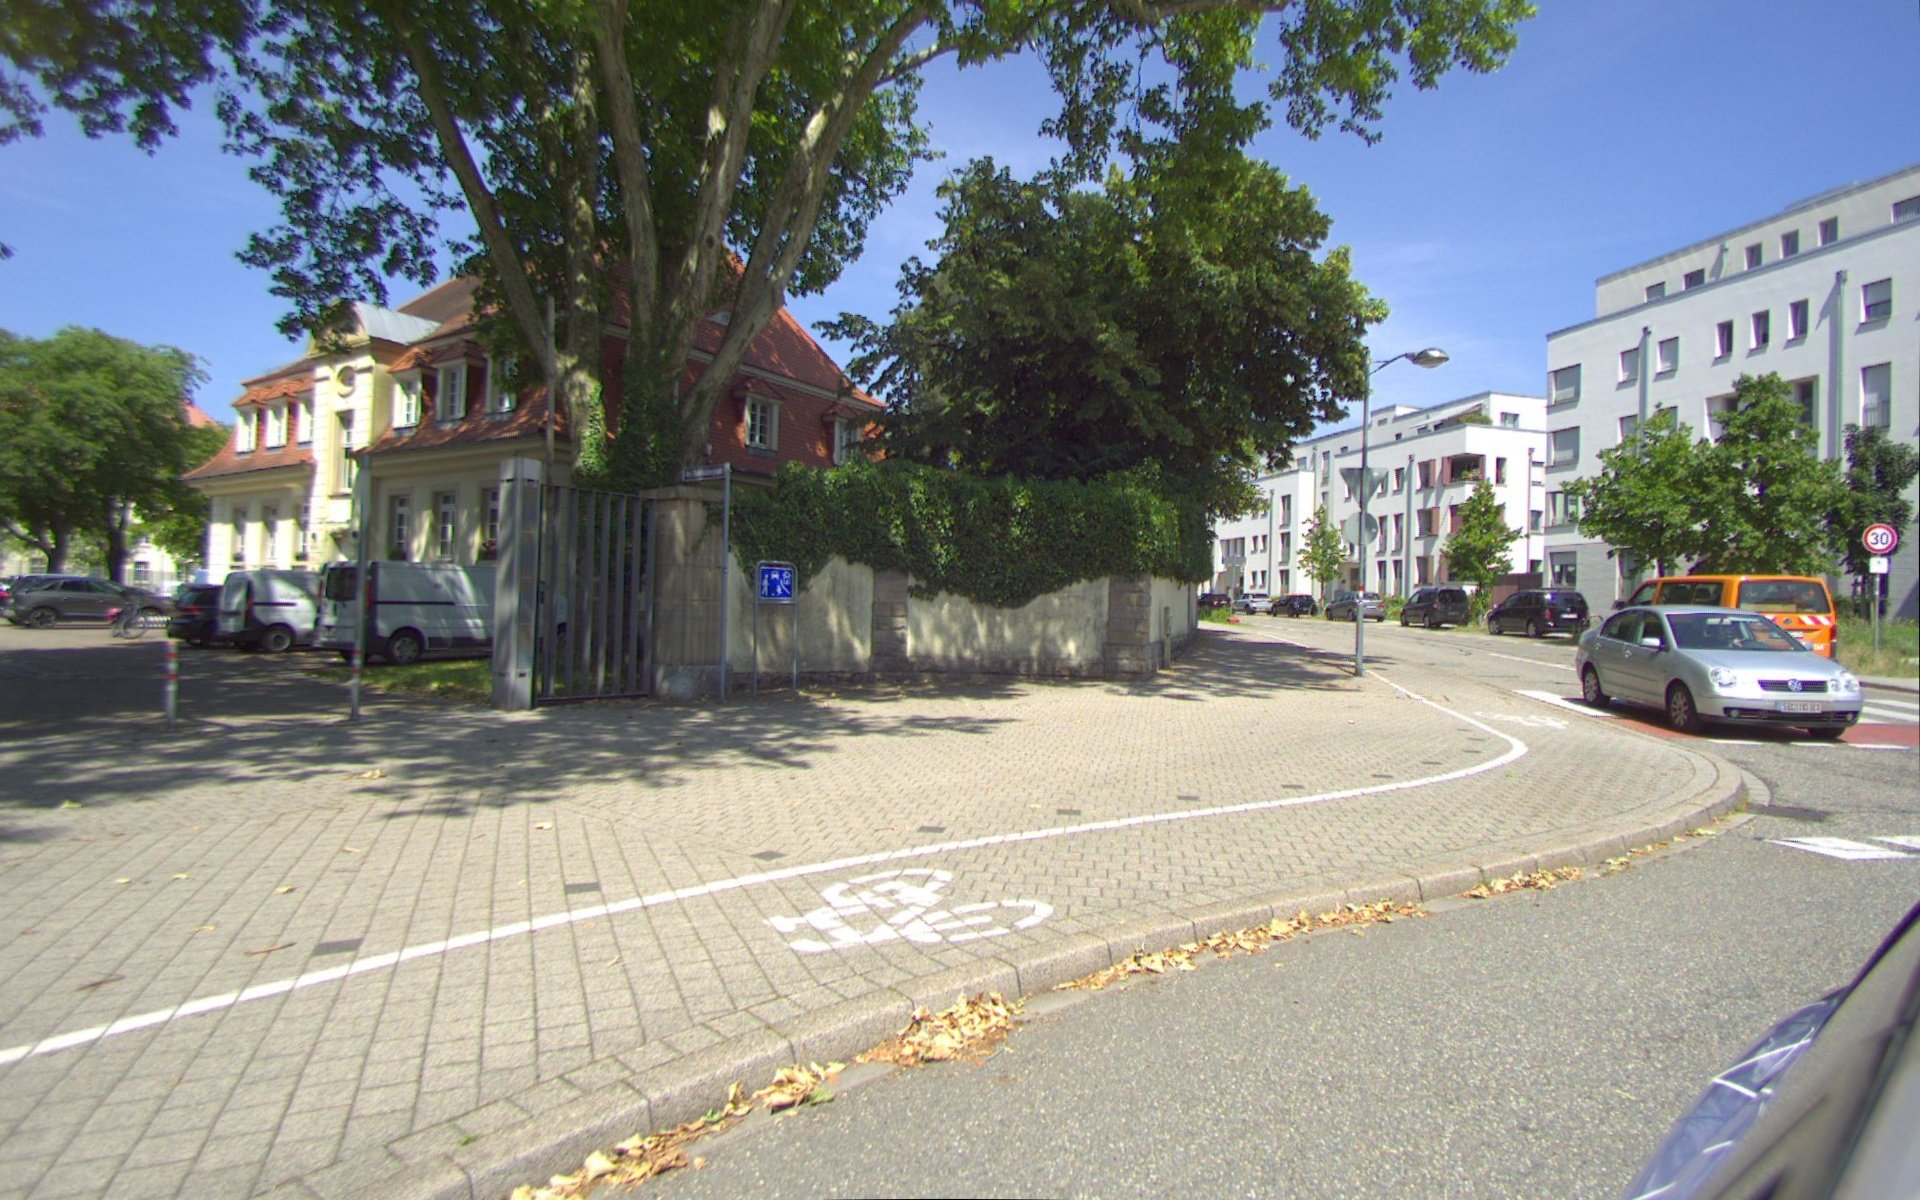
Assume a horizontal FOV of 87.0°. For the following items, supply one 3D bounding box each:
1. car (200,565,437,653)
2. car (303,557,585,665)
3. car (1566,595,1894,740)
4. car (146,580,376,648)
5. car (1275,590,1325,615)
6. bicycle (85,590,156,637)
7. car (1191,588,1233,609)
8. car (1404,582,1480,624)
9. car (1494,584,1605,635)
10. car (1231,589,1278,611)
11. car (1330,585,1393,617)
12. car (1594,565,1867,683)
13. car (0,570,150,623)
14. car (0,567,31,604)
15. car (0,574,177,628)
[{"bbox_3d":[-14.667,0.147,23.381,1.827,1.834,4.284,1,1,31],"label":"car"},{"bbox_3d":[-10.236,0.165,20.500,1.961,1.910,4.811,1,1,31],"label":"car"},{"bbox_3d":[9.384,0.702,12.782,1.582,1.470,3.989,1,1,9],"label":"car"},{"bbox_3d":[-16.910,0.282,24.703,1.798,1.503,4.282,1,1,32],"label":"car"},{"bbox_3d":[20.698,0.112,61.739,1.673,1.431,3.631,1,1,-4],"label":"car"},{"bbox_3d":[-21.922,0.336,26.427,1.969,1.148,0.698,1,1,27],"label":"bicycle"},{"bbox_3d":[18.639,-0.137,74.883,1.672,1.431,3.728,1,1,-9],"label":"car"},{"bbox_3d":[20.865,0.110,43.963,1.669,1.721,3.625,1,1,3],"label":"car"},{"bbox_3d":[20.418,0.286,35.251,1.669,1.658,4.018,1,1,3],"label":"car"},{"bbox_3d":[19.821,-0.021,68.276,1.673,1.431,3.726,1,1,-6],"label":"car"},{"bbox_3d":[21.204,0.003,53.545,1.756,1.609,3.629,1,1,-2],"label":"car"},{"bbox_3d":[14.617,0.379,19.661,1.917,1.984,5.011,0,1,7],"label":"car"},{"bbox_3d":[-29.699,-0.136,33.630,1.801,1.632,4.038,1,1,37],"label":"car"},{"bbox_3d":[-41.586,-0.620,42.130,4.013,1.565,1.812,0,1,-34],"label":"car"},{"bbox_3d":[-27.465,0.001,31.951,1.801,1.565,4.038,1,1,37],"label":"car"}]
